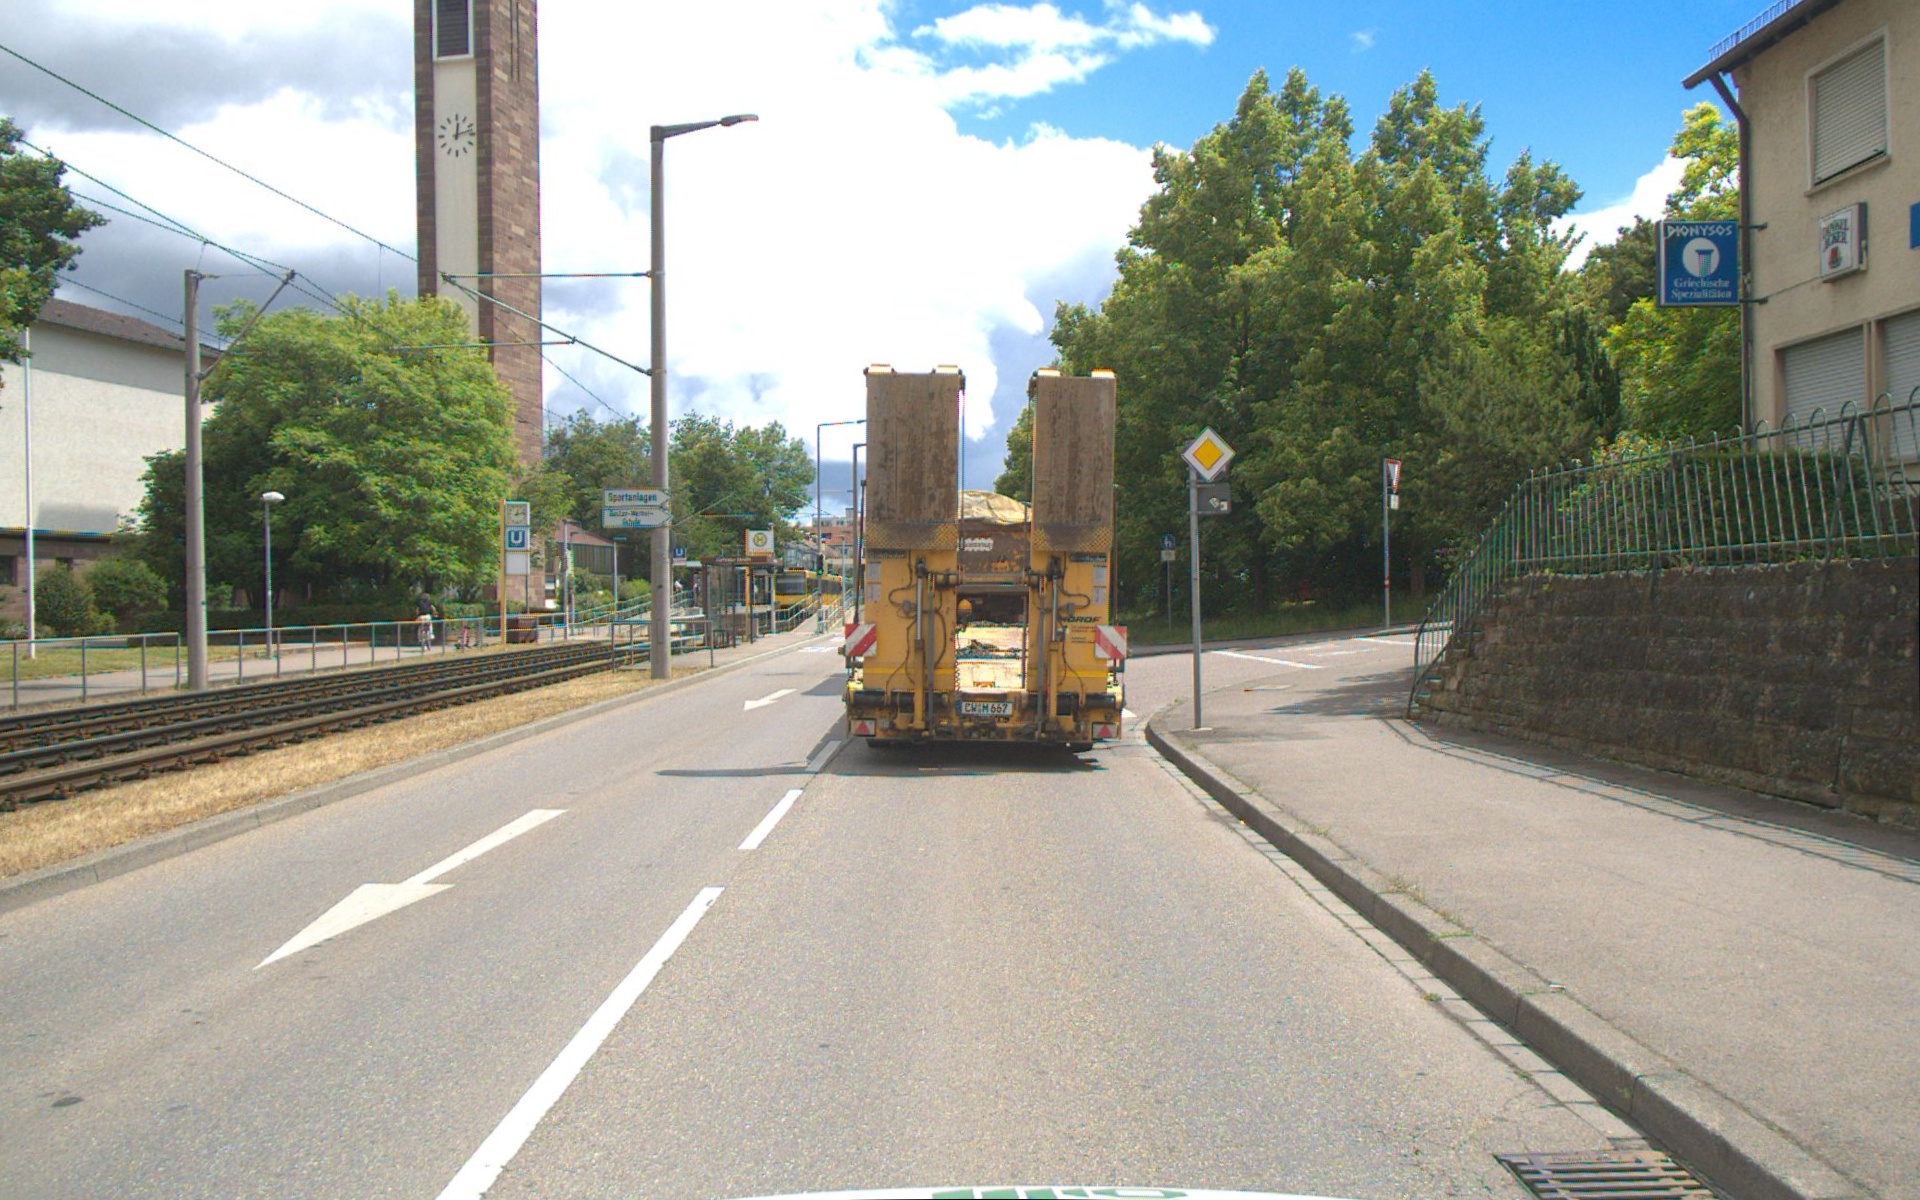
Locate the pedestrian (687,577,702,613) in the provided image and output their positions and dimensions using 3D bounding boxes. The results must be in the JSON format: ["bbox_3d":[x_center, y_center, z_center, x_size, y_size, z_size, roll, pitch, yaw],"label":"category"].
[{"bbox_3d":[-15.525,-0.287,96.710,0.698,2.049,0.731,1,-1,-3],"label":"pedestrian"}]

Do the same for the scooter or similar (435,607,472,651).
[{"bbox_3d":[-14.979,0.860,48.941,0.636,1.258,1.401,1,0,0],"label":"scooter or similar"}]

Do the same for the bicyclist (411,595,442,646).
[{"bbox_3d":[-15.346,0.593,47.608,0.620,1.454,0.790,1,-1,-1],"label":"bicyclist"}]

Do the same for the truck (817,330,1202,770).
[{"bbox_3d":[0.102,-0.424,21.227,3.334,3.798,13.730,0,0,-3],"label":"truck"}]

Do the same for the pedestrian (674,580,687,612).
[{"bbox_3d":[-15.585,-0.226,92.190,0.572,1.809,0.576,1,-1,-1],"label":"pedestrian"}]

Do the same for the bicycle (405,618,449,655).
[{"bbox_3d":[-15.380,1.038,47.777,0.624,1.011,1.928,1,0,-1],"label":"bicycle"}]

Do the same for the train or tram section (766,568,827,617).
[{"bbox_3d":[-12.688,-0.518,130.153,3.044,3.525,18.822,1,0,-1],"label":"train or tram section"}]

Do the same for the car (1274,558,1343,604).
[{"bbox_3d":[12.598,-0.667,59.991,1.627,1.526,3.662,-3,0,-1],"label":"car"}]
